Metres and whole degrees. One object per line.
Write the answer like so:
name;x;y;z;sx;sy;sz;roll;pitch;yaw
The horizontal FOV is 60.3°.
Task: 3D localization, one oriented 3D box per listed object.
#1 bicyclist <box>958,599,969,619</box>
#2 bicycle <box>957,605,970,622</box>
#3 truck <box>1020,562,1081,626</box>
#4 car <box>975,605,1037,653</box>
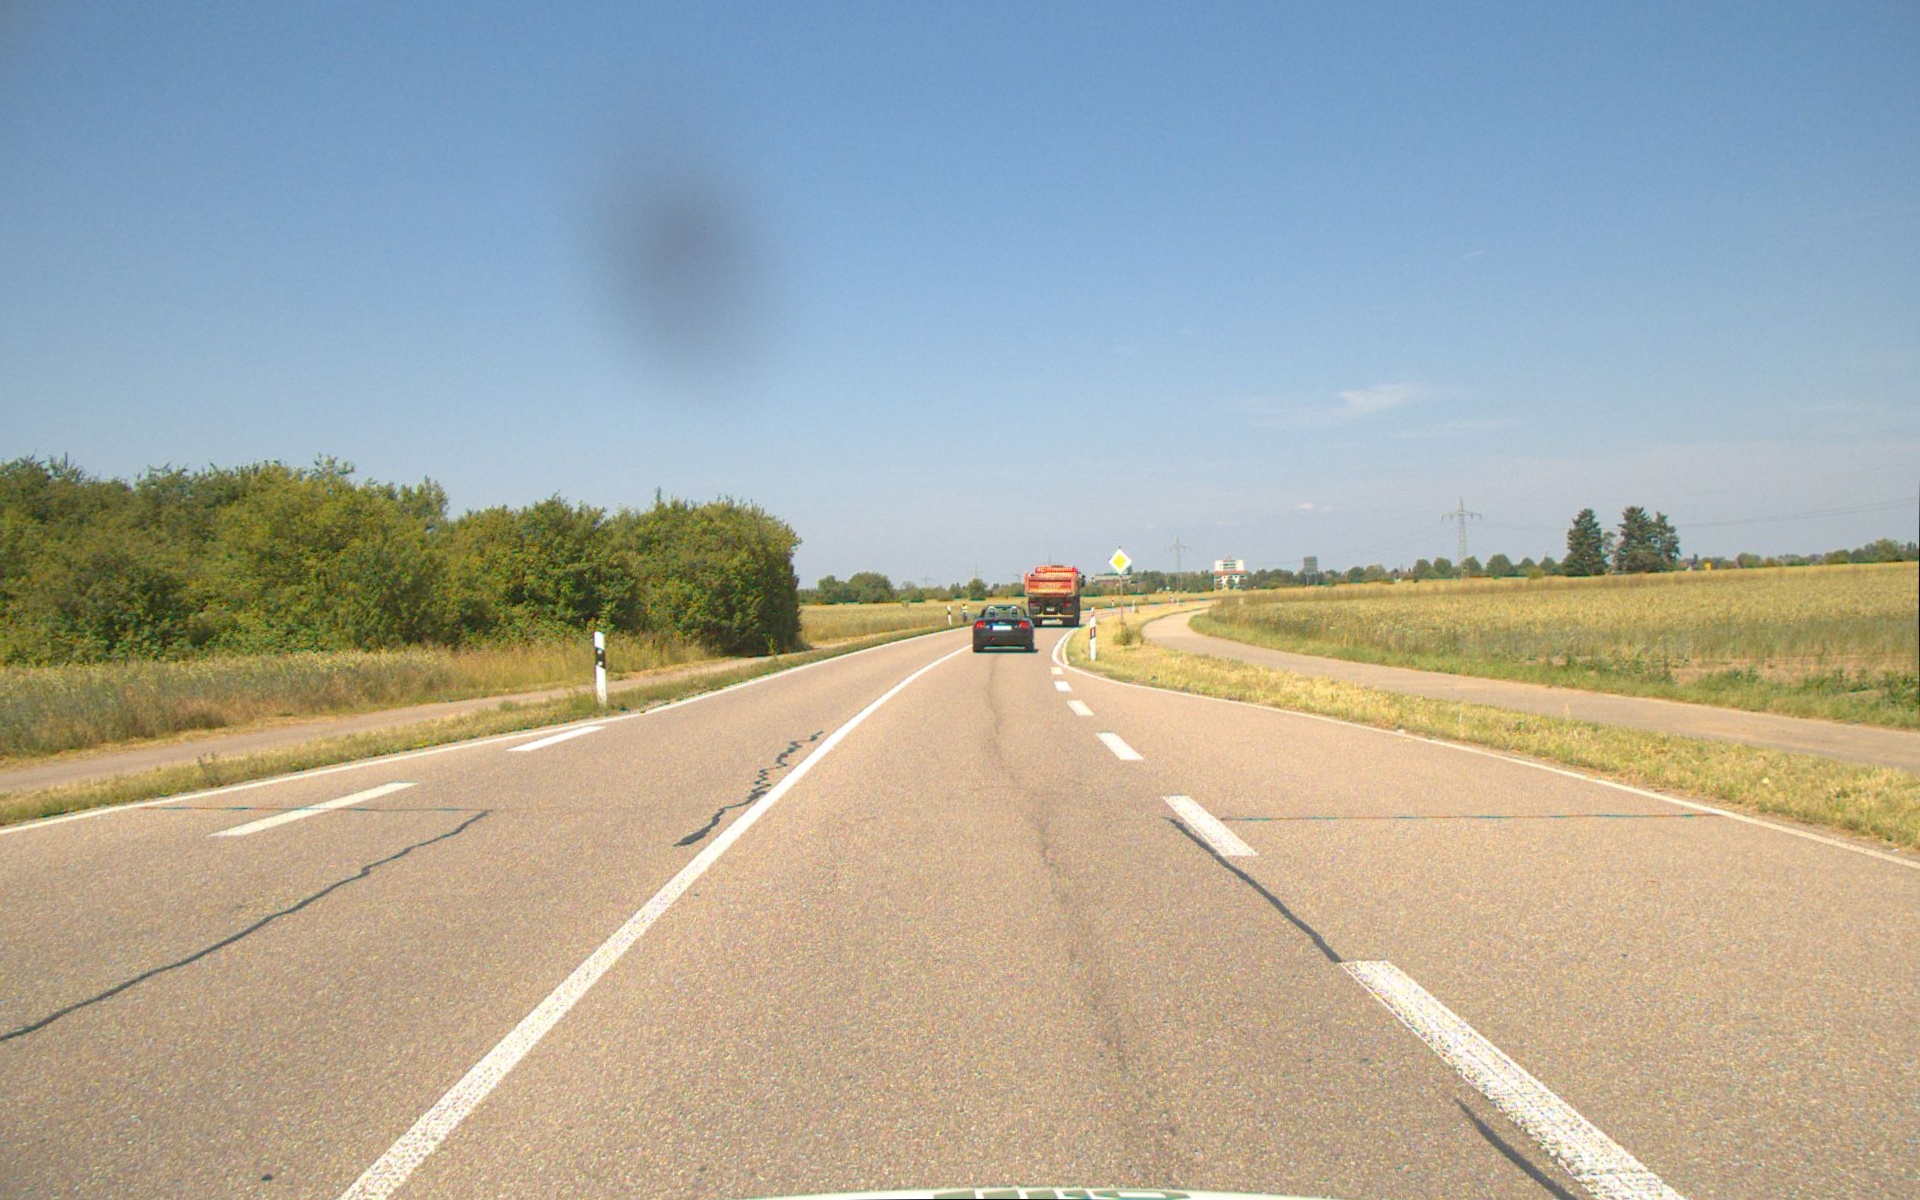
bicyclist;0.246;0.680;120.627;0.649;1.463;0.823;-1;0;7
bicycle;0.245;0.962;120.555;0.679;1.197;1.965;-2;0;7
truck;4.723;-0.283;85.101;2.876;3.143;7.200;-1;0;5
car;1.335;0.805;47.738;1.707;1.302;4.001;0;0;2
